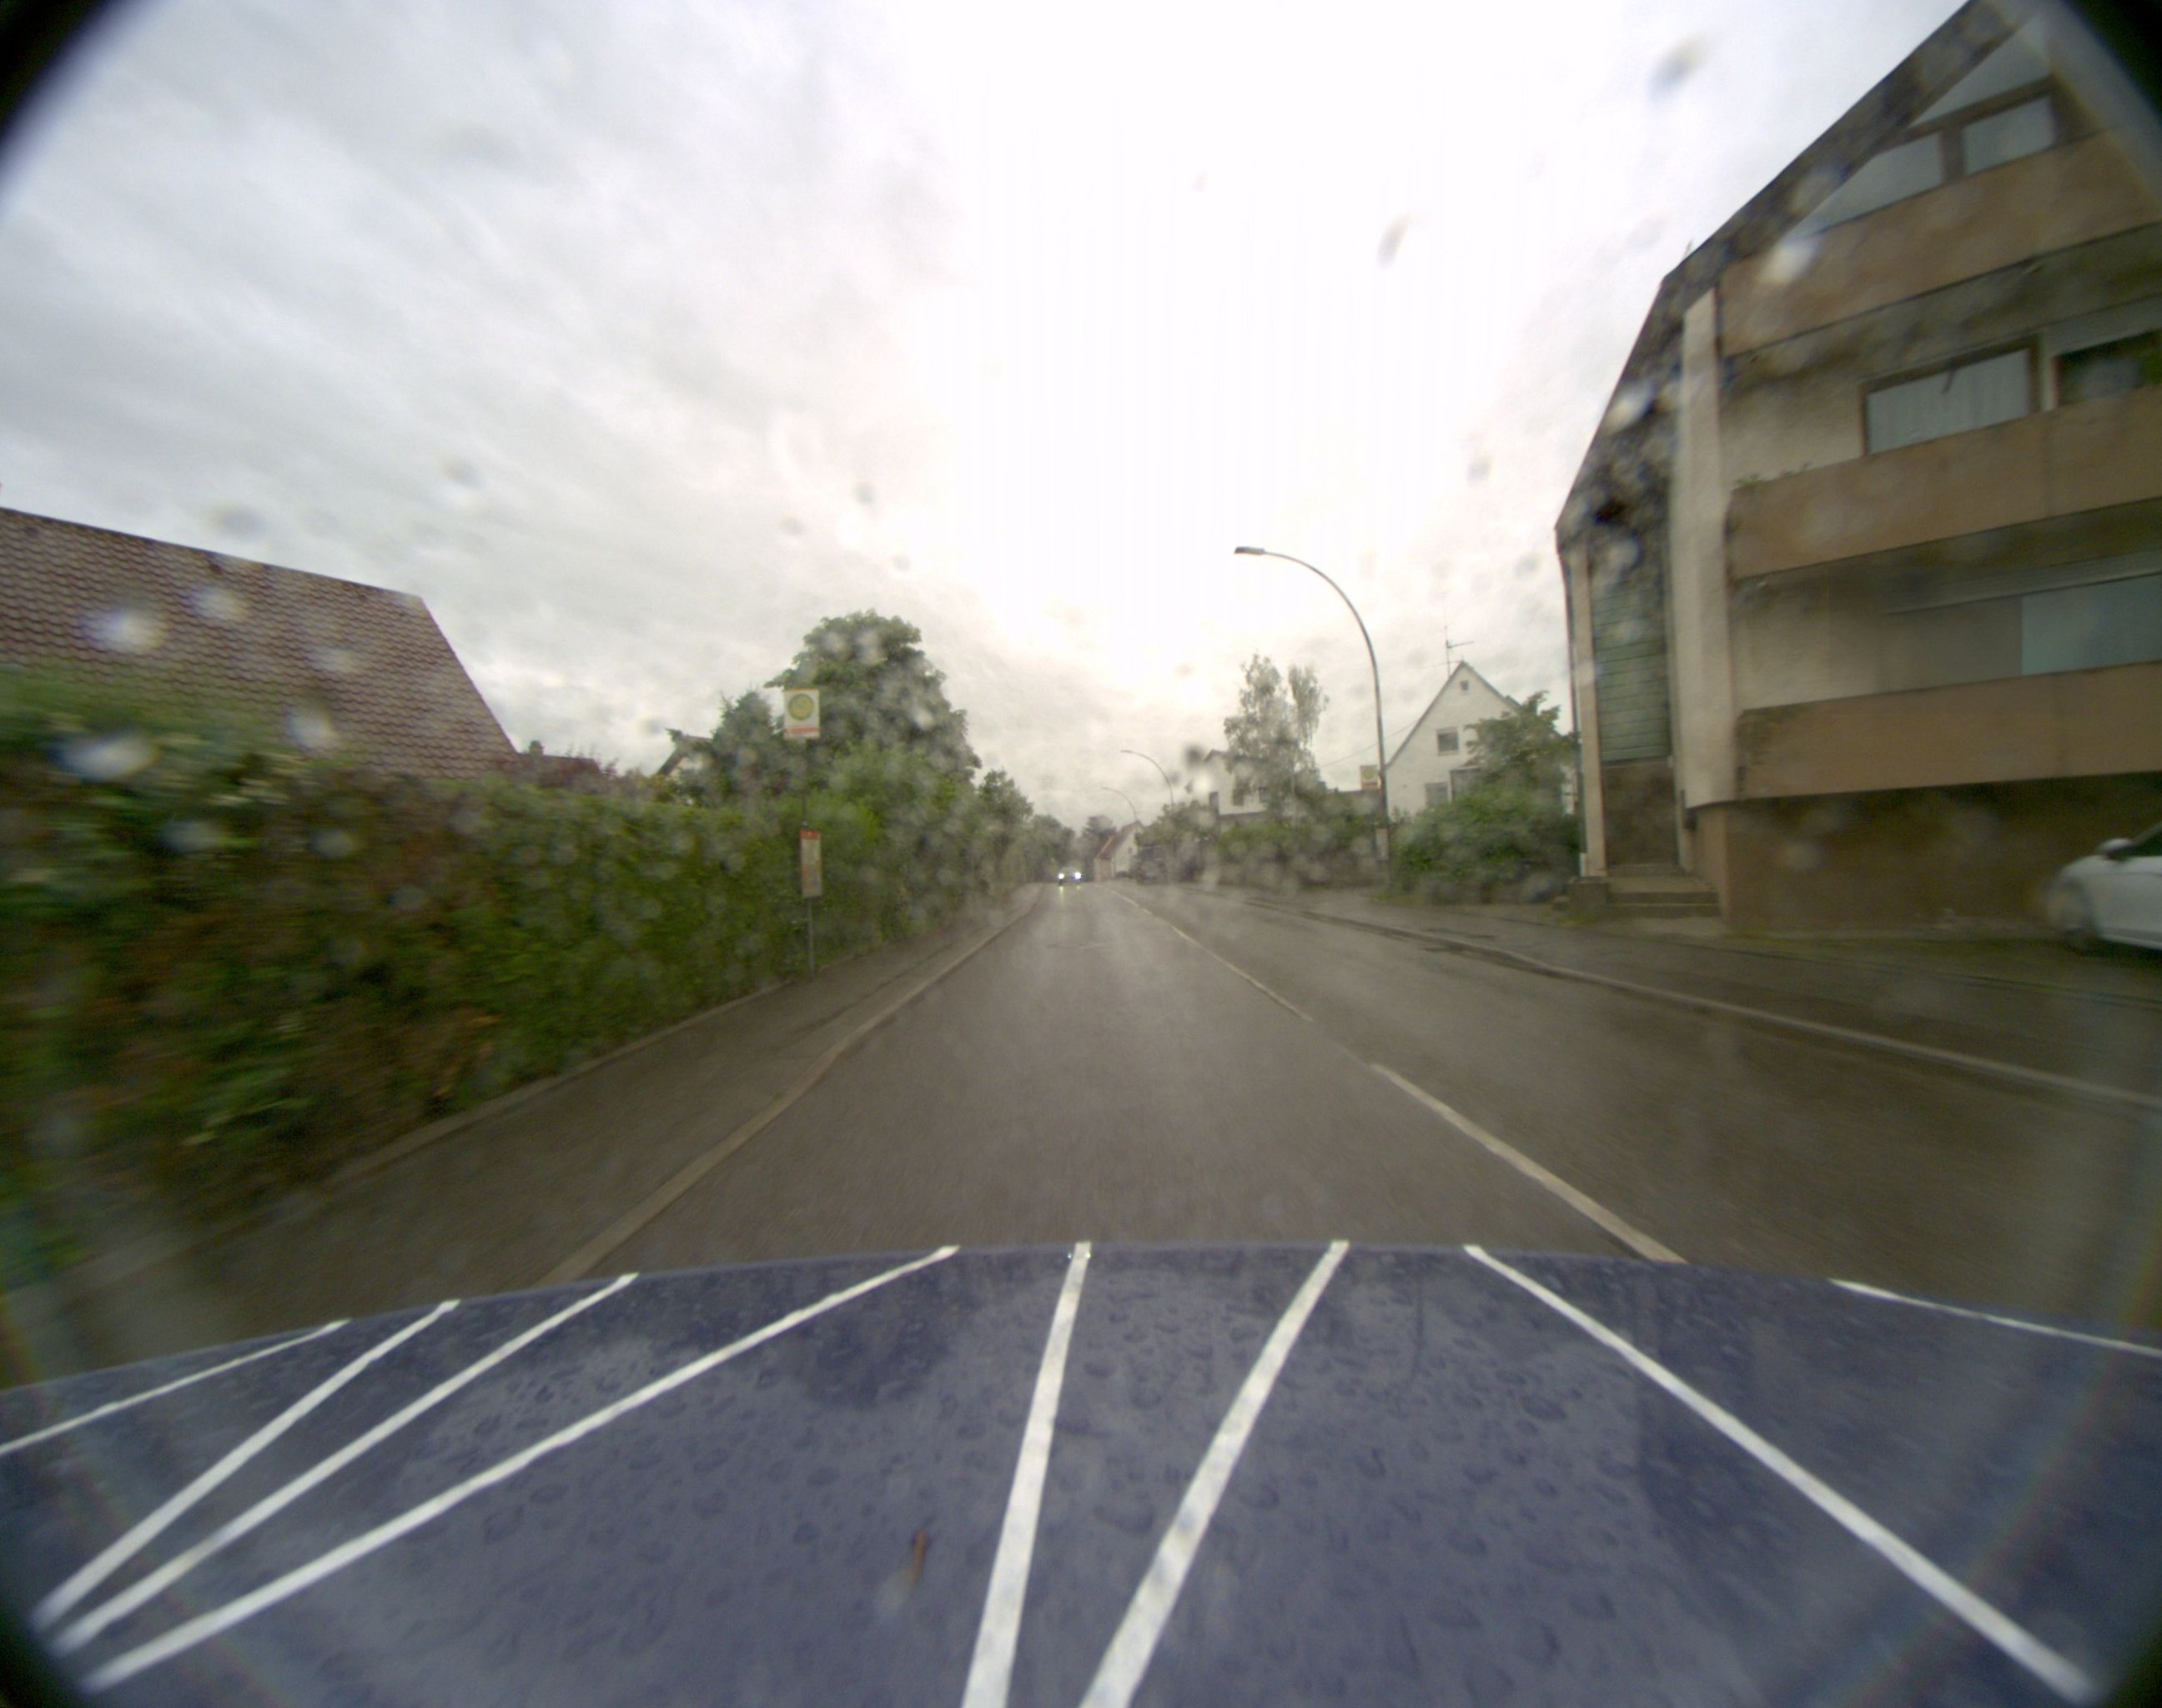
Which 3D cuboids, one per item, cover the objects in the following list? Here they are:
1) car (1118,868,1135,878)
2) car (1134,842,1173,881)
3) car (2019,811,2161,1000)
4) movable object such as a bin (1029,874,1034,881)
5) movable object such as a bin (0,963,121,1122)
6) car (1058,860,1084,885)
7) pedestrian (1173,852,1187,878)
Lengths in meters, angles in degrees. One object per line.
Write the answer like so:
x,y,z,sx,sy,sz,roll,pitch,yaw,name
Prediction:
7.394,3.126,122.475,1.904,1.433,3.834,-5,-3,15,car
5.400,0.612,57.448,2.100,2.633,5.919,-4,-1,-1,car
9.205,0.370,5.305,1.902,1.468,4.891,-5,-1,34,car
-7.380,3.544,112.774,0.628,1.015,0.541,-1,-2,2,movable object such as a bin
-11.122,1.968,8.152,1.016,1.460,0.809,-2,0,29,movable object such as a bin
-0.895,1.617,64.767,1.999,2.001,4.000,-3,-2,-2,car
7.203,0.816,55.464,0.679,1.874,0.811,-2,0,30,pedestrian
